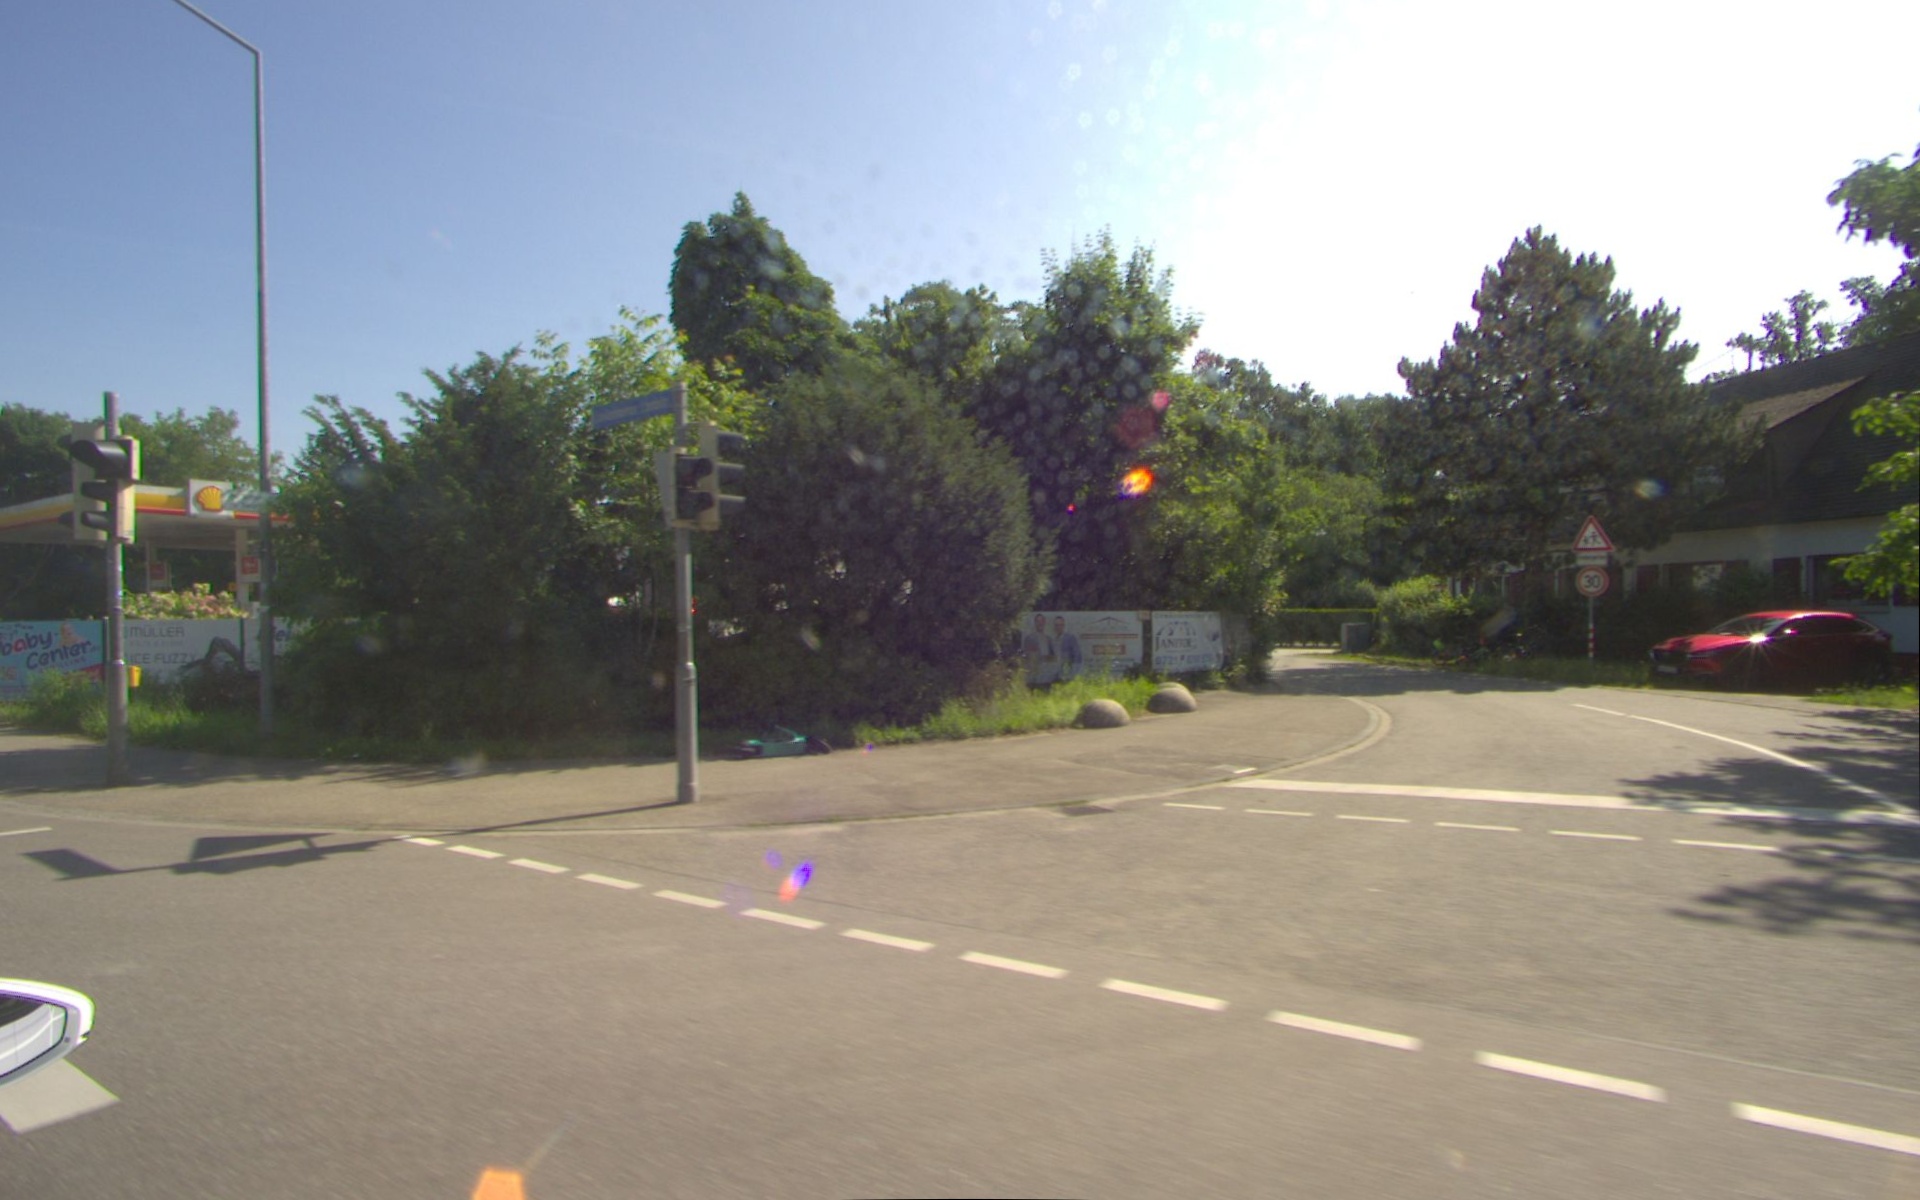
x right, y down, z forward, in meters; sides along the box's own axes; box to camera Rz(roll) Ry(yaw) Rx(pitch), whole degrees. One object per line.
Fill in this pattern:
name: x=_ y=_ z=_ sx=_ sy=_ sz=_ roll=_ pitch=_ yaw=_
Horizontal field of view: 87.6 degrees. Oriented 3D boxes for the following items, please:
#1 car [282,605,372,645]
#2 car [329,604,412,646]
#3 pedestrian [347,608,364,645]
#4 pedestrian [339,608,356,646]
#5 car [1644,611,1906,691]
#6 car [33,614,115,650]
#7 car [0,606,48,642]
car: x=-30.436 y=1.175 z=48.117 sx=4.712 sy=1.862 sz=1.847 roll=-1 pitch=0 yaw=32
car: x=-26.108 y=1.100 z=44.315 sx=3.950 sy=1.750 sz=1.821 roll=-1 pitch=-1 yaw=37
pedestrian: x=-26.306 y=1.154 z=43.587 sx=0.469 sy=1.614 sz=0.497 roll=0 pitch=0 yaw=37
pedestrian: x=-26.985 y=1.185 z=44.093 sx=0.469 sy=1.653 sz=0.497 roll=0 pitch=0 yaw=37
car: x=16.071 y=0.983 z=19.859 sx=3.910 sy=1.483 sz=1.629 roll=0 pitch=0 yaw=-2
car: x=-36.362 y=1.277 z=41.092 sx=3.798 sy=1.378 sz=1.792 roll=-1 pitch=0 yaw=37
car: x=-48.299 y=1.232 z=50.793 sx=3.942 sy=1.788 sz=1.991 roll=-1 pitch=-2 yaw=31
